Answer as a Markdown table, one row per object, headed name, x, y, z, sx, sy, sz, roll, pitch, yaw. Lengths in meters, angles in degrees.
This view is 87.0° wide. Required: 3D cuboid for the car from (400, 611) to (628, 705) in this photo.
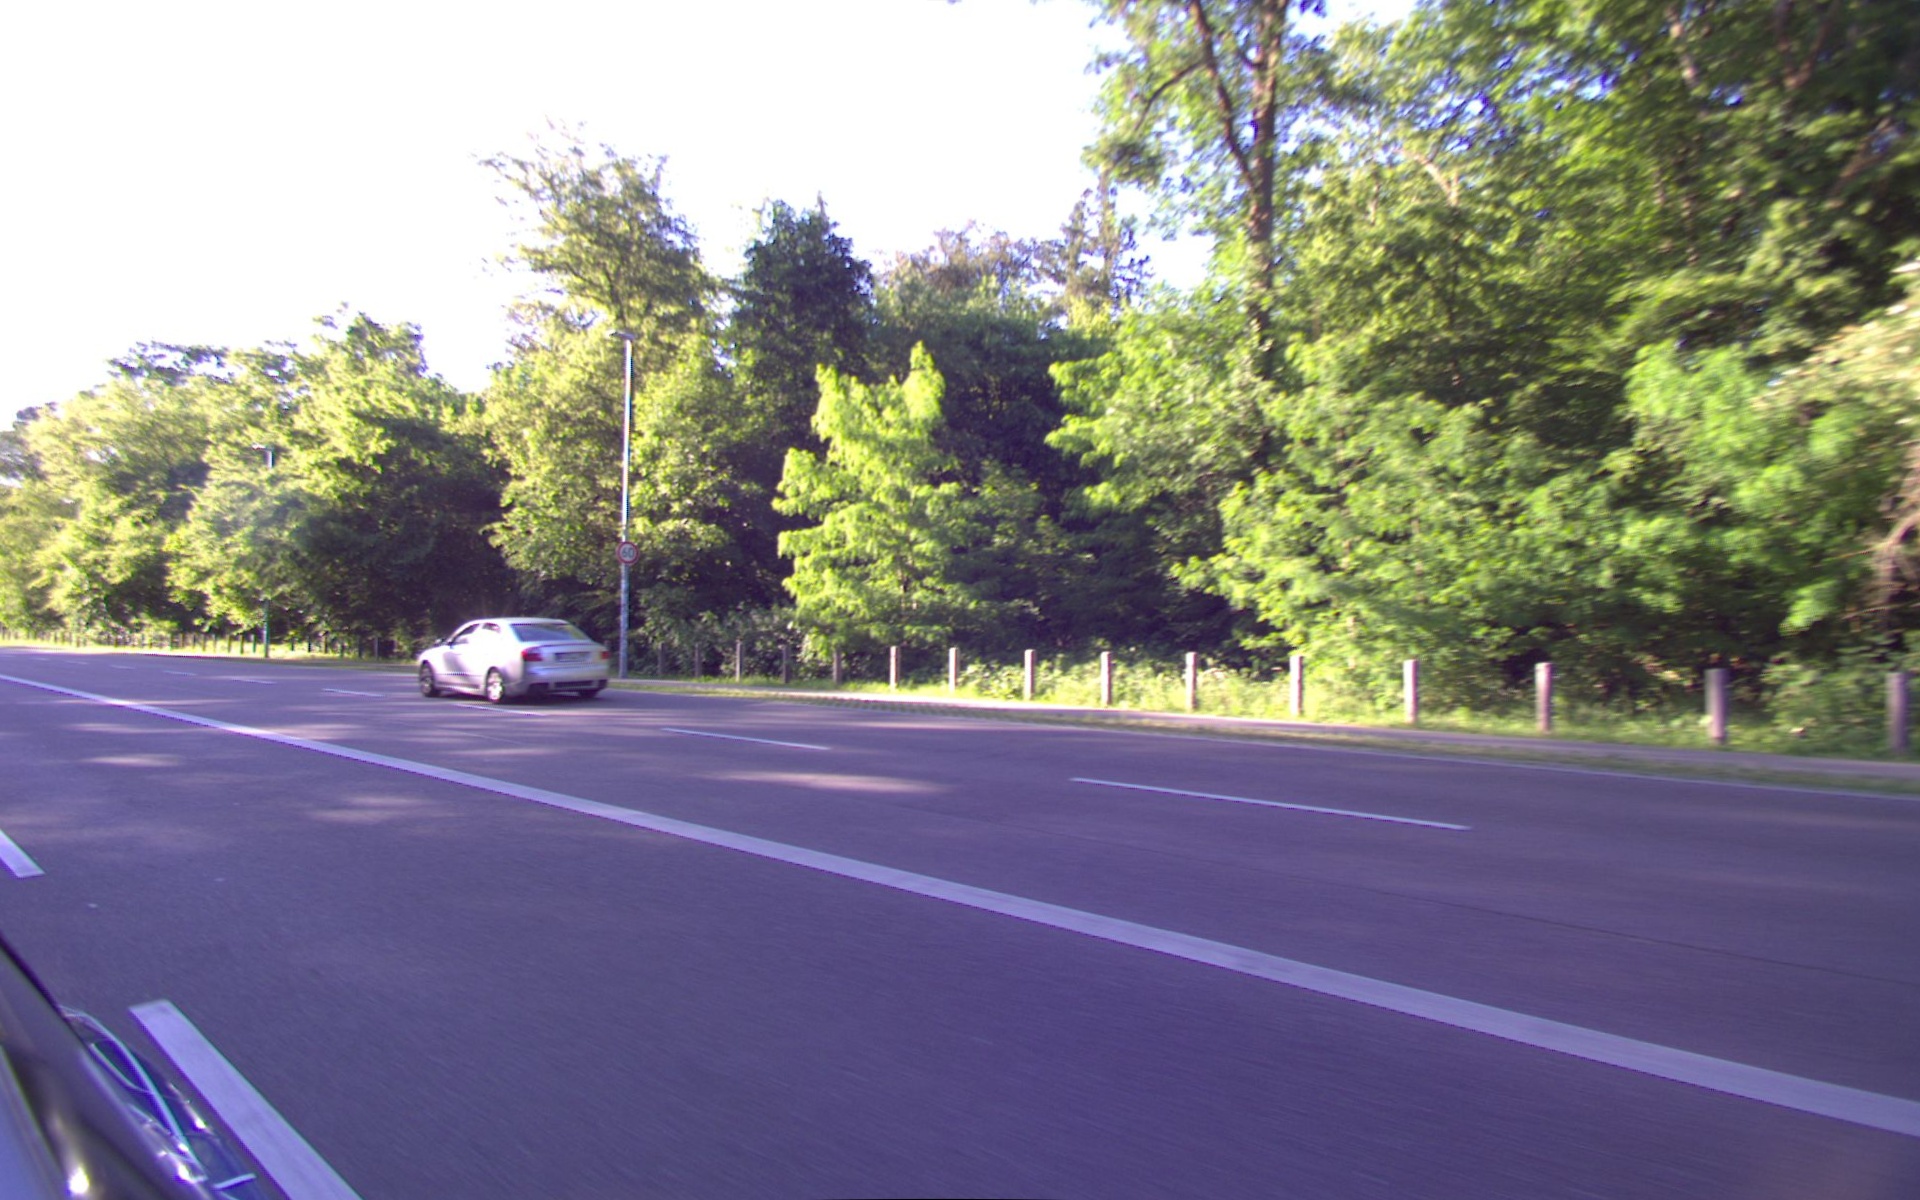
| name | x | y | z | sx | sy | sz | roll | pitch | yaw |
| --- | --- | --- | --- | --- | --- | --- | --- | --- | --- |
| car | -7.636 | 0.939 | 17.189 | 4.158 | 1.419 | 1.763 | -2 | -2 | 37 |
